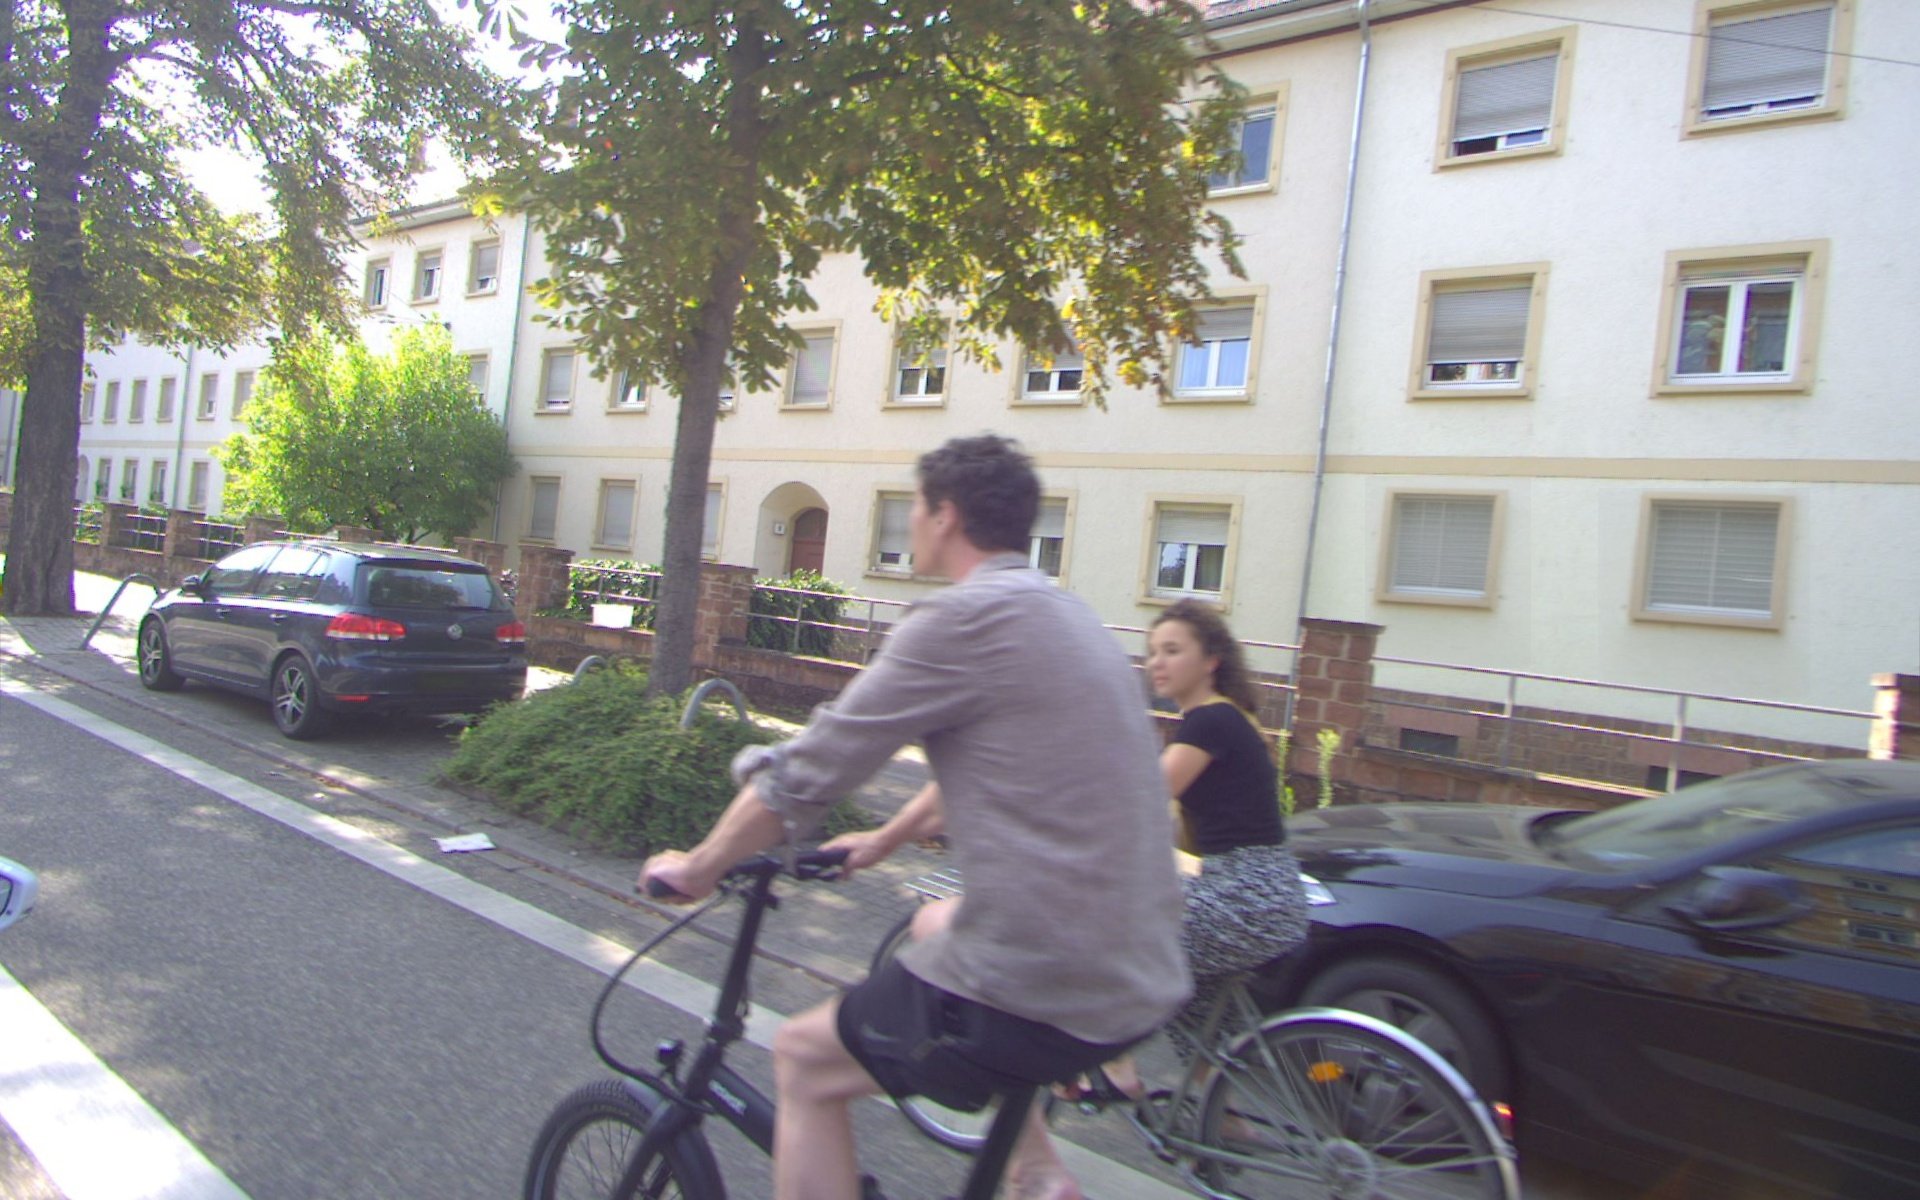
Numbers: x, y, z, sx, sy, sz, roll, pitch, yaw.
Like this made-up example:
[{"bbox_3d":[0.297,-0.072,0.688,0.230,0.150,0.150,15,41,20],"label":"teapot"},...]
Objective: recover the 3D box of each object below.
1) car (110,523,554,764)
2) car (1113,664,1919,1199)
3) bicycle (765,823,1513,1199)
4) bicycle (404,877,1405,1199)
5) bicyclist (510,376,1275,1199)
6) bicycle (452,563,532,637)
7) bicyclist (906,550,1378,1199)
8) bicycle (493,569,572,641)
[{"bbox_3d":[-5.584,0.259,8.803,4.029,1.522,1.690,6,1,33],"label":"car"},{"bbox_3d":[2.843,1.204,3.141,4.266,1.454,1.689,6,2,33],"label":"car"},{"bbox_3d":[0.406,1.251,2.663,1.746,0.919,0.655,6,-2,33],"label":"bicycle"},{"bbox_3d":[-0.183,1.121,1.630,1.500,0.919,0.627,6,-2,33],"label":"bicycle"},{"bbox_3d":[-0.104,0.441,1.654,0.914,1.416,0.627,6,-2,32],"label":"bicyclist"},{"bbox_3d":[-7.777,-0.013,16.702,1.464,1.073,0.416,6,0,34],"label":"bicycle"},{"bbox_3d":[0.496,0.682,2.676,0.894,1.490,0.655,6,-2,32],"label":"bicyclist"},{"bbox_3d":[-7.298,0.072,17.157,1.464,1.073,0.416,6,0,34],"label":"bicycle"}]
